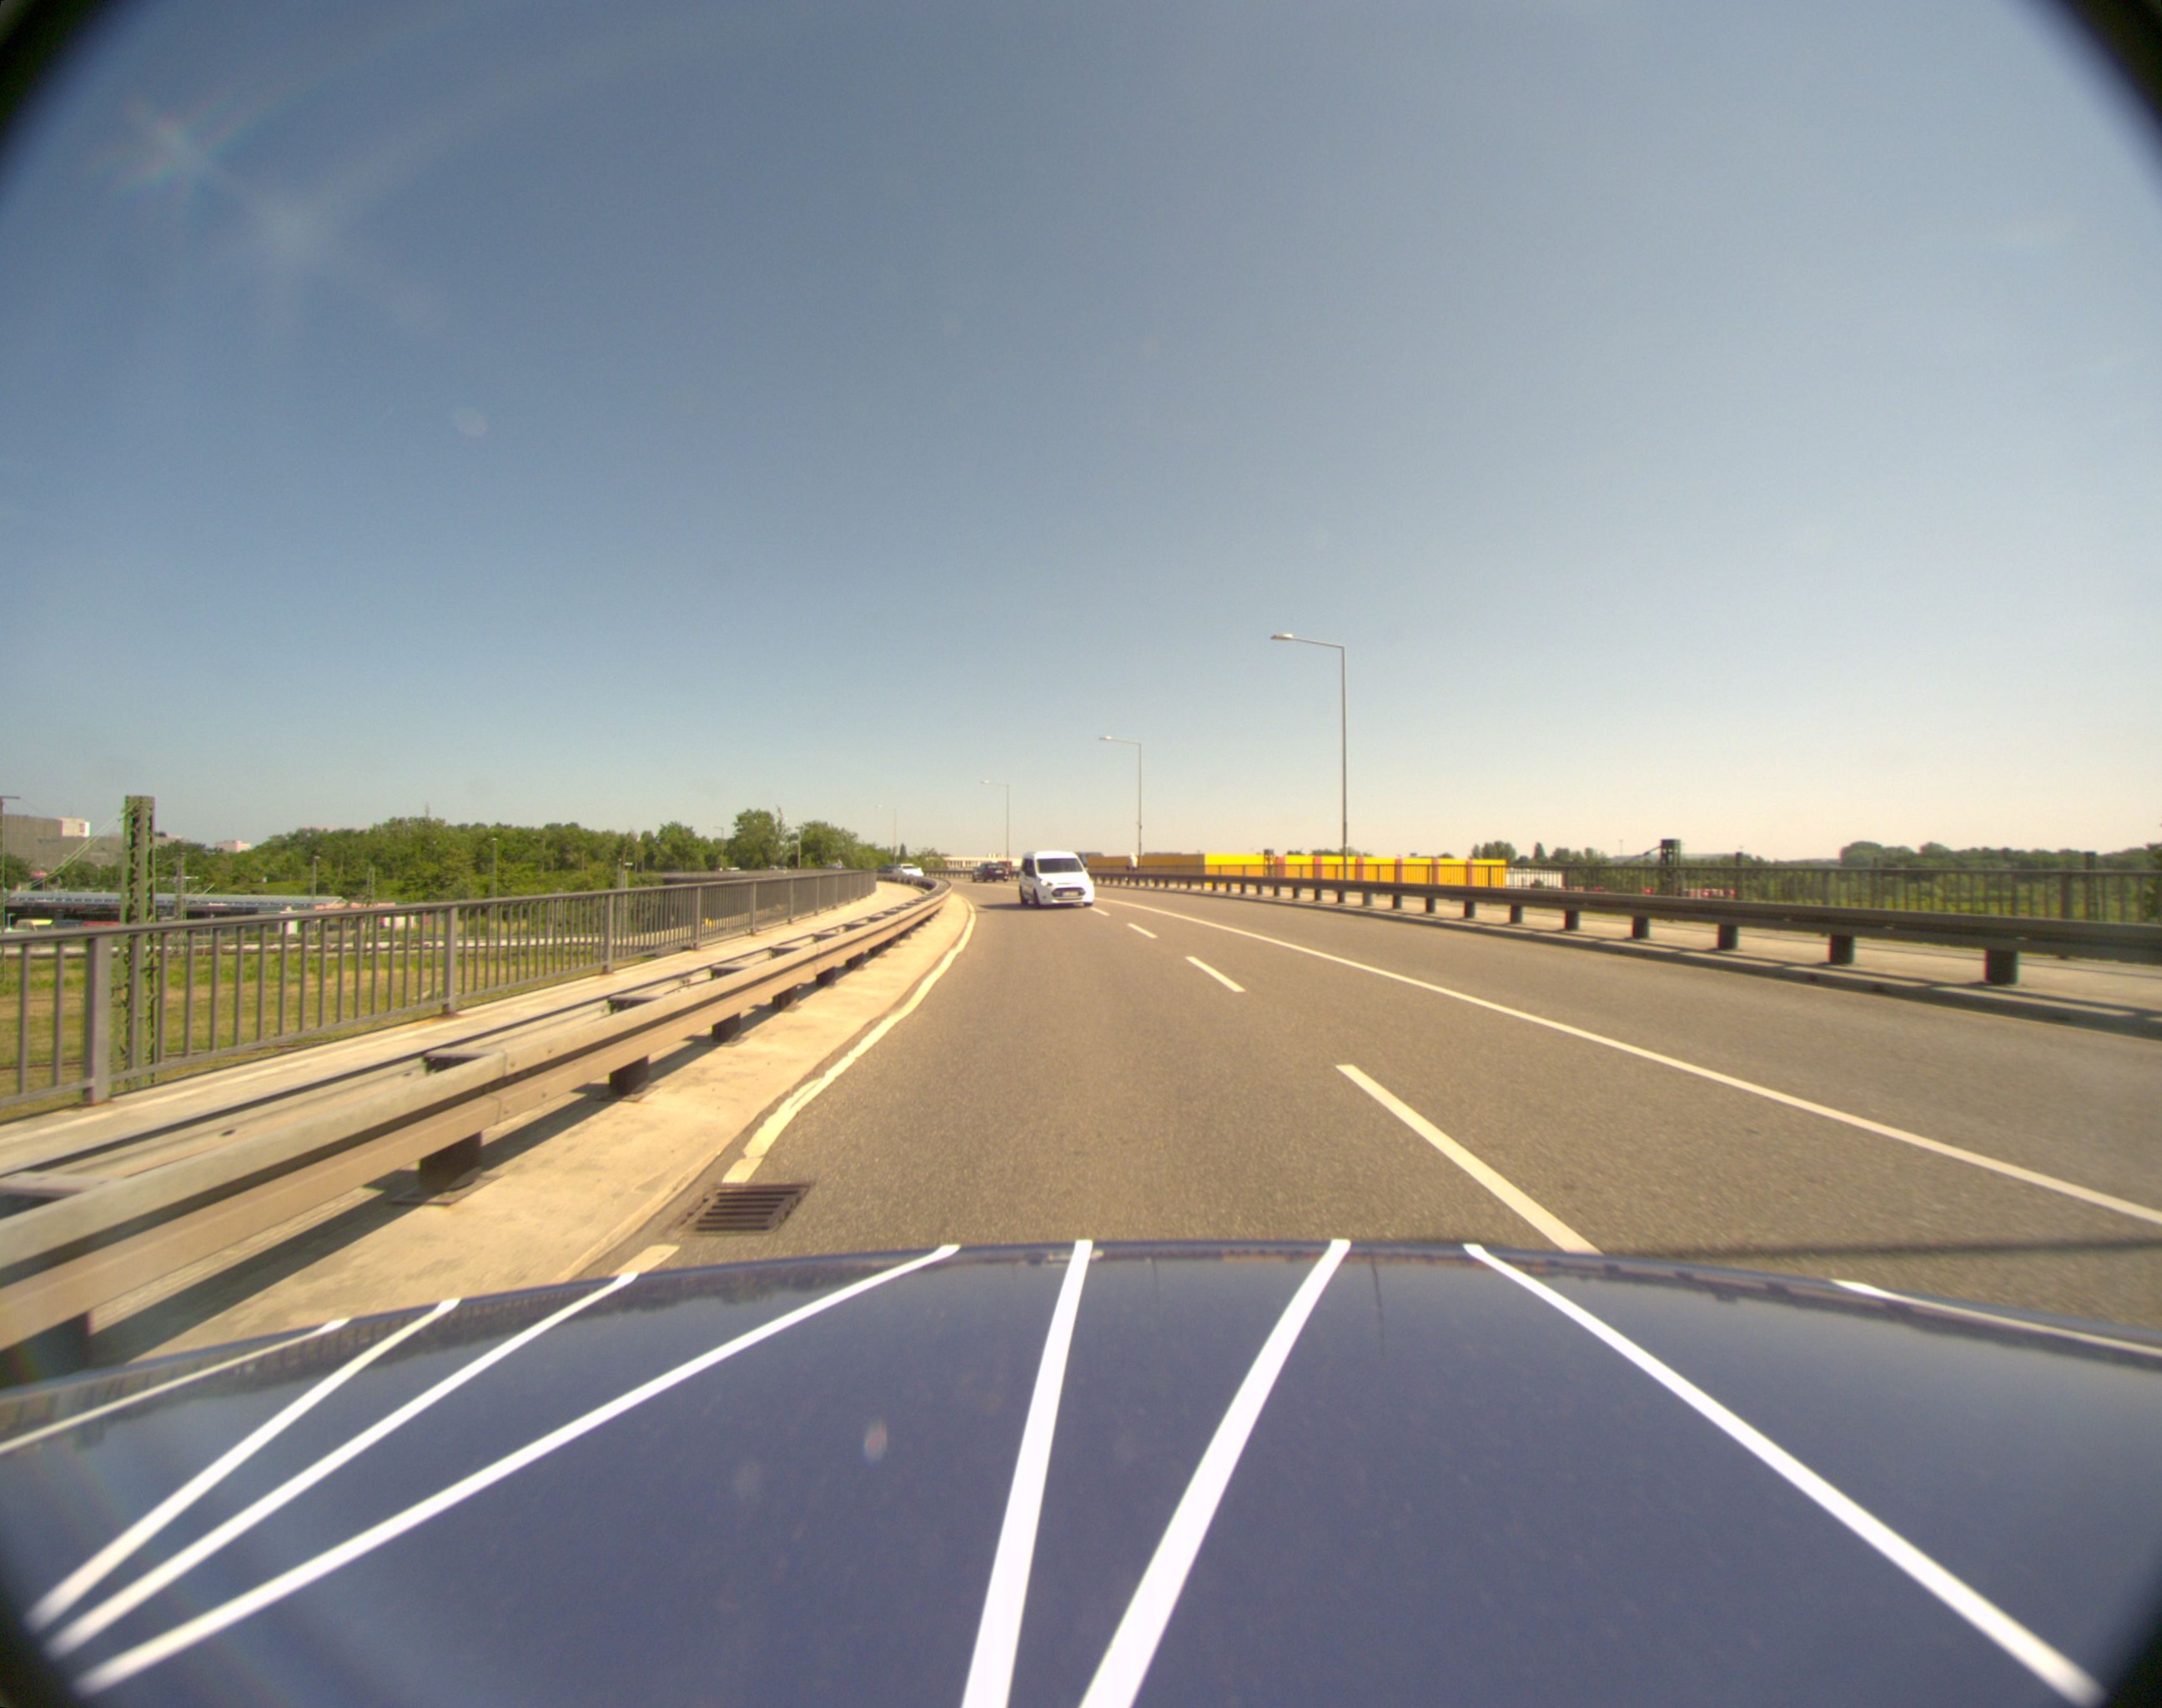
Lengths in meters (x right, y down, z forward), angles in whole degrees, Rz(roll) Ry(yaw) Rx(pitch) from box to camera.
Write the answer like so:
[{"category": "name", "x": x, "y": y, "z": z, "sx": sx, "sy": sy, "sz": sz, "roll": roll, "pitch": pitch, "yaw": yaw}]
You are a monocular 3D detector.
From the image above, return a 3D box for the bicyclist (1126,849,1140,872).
[{"category": "bicyclist", "x": 3.063, "y": 0.371, "z": 44.979, "sx": 0.490, "sy": 1.321, "sz": 0.945, "roll": -2, "pitch": 2, "yaw": -15}]

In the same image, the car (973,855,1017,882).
[{"category": "car", "x": -6.464, "y": 1.075, "z": 56.664, "sx": 1.849, "sy": 1.816, "sz": 4.680, "roll": -2, "pitch": 0, "yaw": -24}]

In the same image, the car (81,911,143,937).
[{"category": "car", "x": -117.108, "y": 8.493, "z": 91.857, "sx": 5.368, "sy": 2.650, "sz": 2.308, "roll": 0, "pitch": 5, "yaw": 12}]

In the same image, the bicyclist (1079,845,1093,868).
[{"category": "bicyclist", "x": 0.357, "y": 0.161, "z": 51.290, "sx": 0.663, "sy": 1.487, "sz": 1.015, "roll": -2, "pitch": 0, "yaw": -14}]

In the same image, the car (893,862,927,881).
[{"category": "car", "x": -15.029, "y": 1.528, "z": 66.698, "sx": 1.850, "sy": 1.479, "sz": 4.143, "roll": -2, "pitch": 0, "yaw": -28}]

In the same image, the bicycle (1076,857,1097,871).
[{"category": "bicycle", "x": 0.369, "y": 0.674, "z": 51.264, "sx": 0.932, "sy": 0.886, "sz": 1.965, "roll": -2, "pitch": -1, "yaw": -14}]

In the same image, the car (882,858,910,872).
[{"category": "car", "x": -20.167, "y": 1.181, "z": 82.661, "sx": 1.826, "sy": 1.421, "sz": 4.854, "roll": -2, "pitch": 0, "yaw": -26}]

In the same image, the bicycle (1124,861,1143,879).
[{"category": "bicycle", "x": 3.088, "y": 0.950, "z": 44.891, "sx": 0.576, "sy": 1.040, "sz": 1.708, "roll": 1, "pitch": -1, "yaw": -14}]

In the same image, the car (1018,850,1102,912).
[{"category": "car", "x": -0.802, "y": 0.803, "z": 24.928, "sx": 1.899, "sy": 1.785, "sz": 4.442, "roll": -2, "pitch": 0, "yaw": -13}]
